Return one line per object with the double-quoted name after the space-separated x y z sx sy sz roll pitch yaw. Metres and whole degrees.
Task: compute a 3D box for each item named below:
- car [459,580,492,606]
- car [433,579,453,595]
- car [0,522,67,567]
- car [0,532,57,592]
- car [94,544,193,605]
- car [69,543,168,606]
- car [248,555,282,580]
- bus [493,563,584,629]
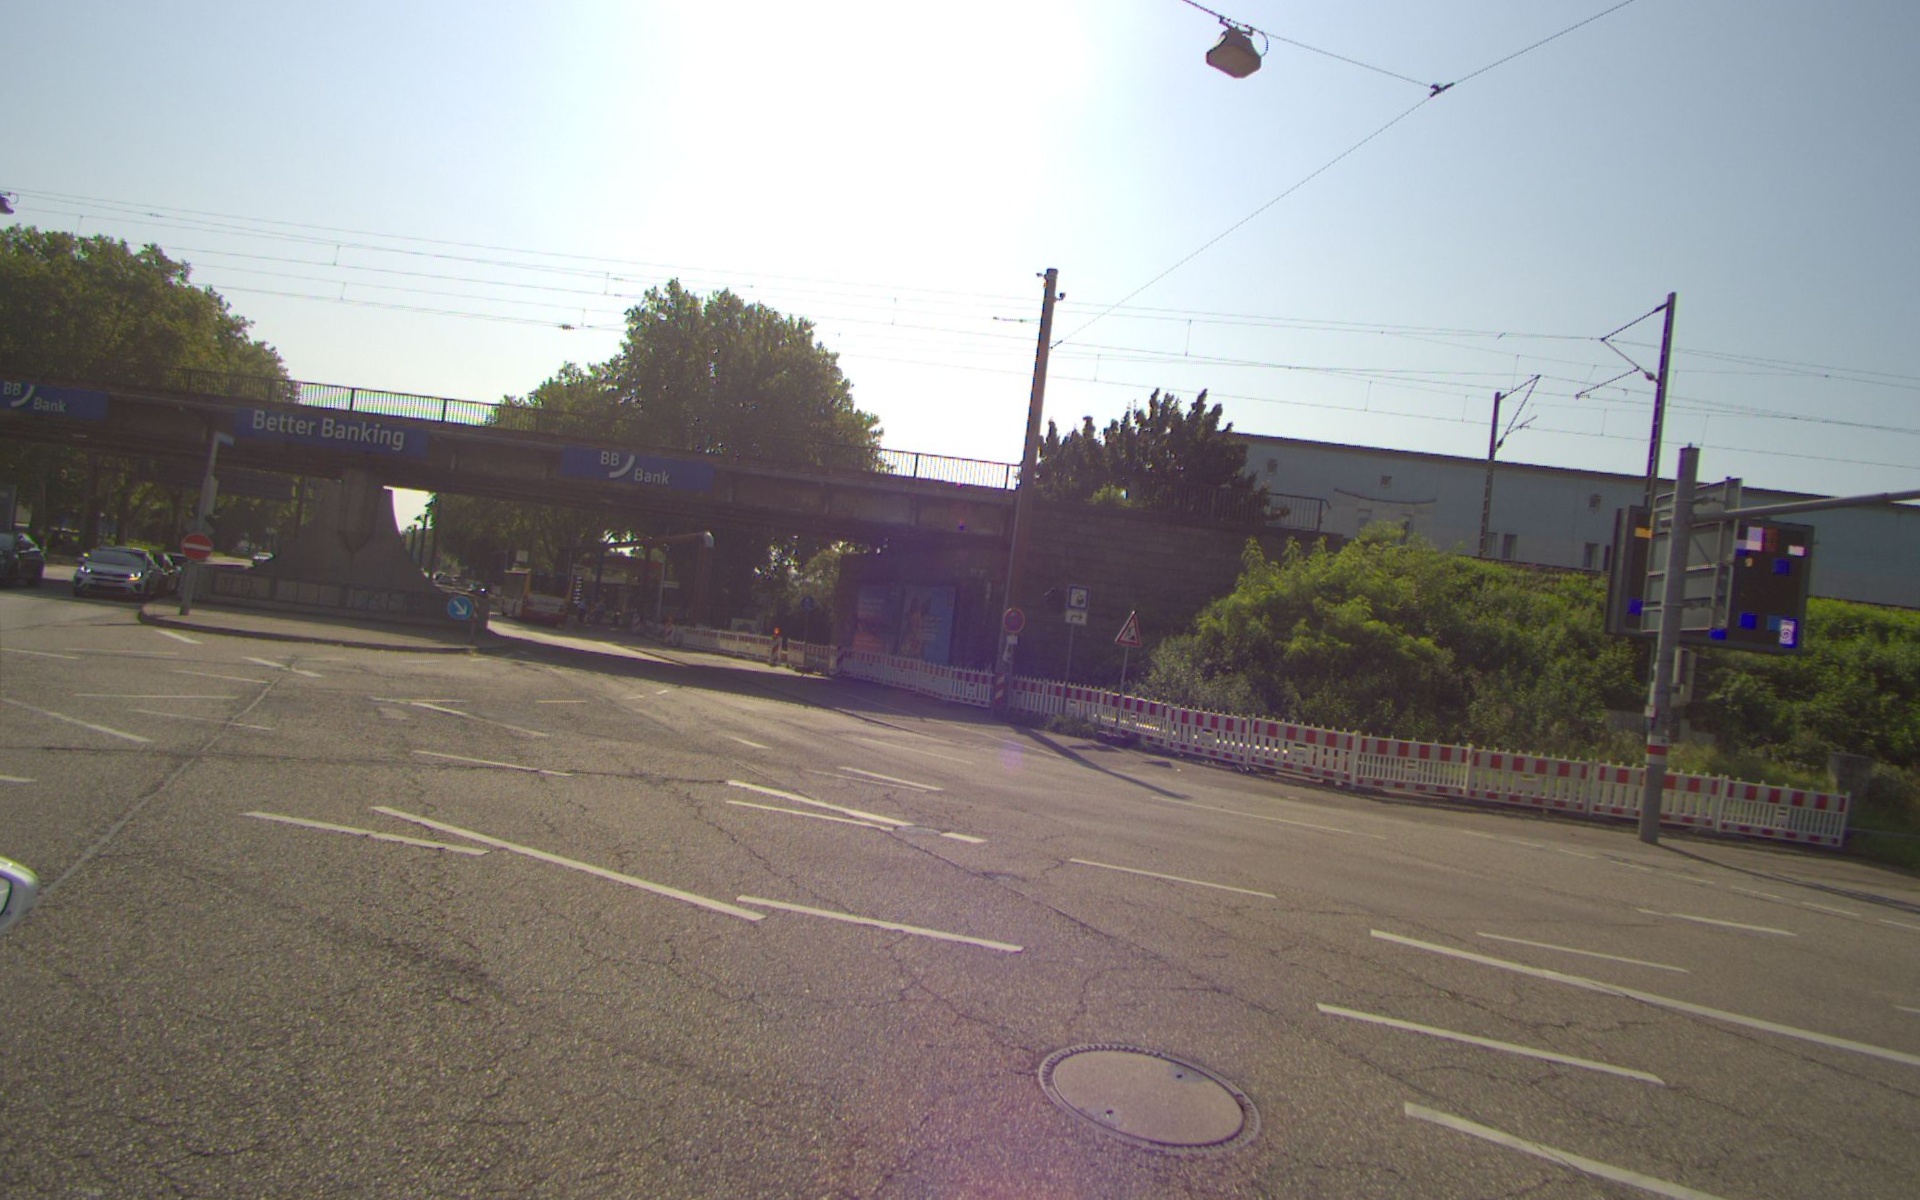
-44.660 -0.668 92.657 1.983 2.035 3.966 11 -4 -33 "car"
-80.042 -1.984 155.734 1.983 2.035 3.966 11 -4 -33 "car"
-48.037 -2.822 51.944 1.983 1.868 3.967 11 -4 -32 "car"
-28.125 -1.161 29.053 1.885 1.636 4.446 7 -2 -28 "car"
-27.260 -0.894 33.718 1.982 1.591 4.308 9 -1 -34 "car"
-24.813 -0.754 29.768 1.710 1.556 3.664 7 -2 -34 "car"
-52.261 -2.459 75.696 1.841 1.500 4.149 9 -2 -34 "car"
-26.084 -0.357 61.724 3.117 3.144 12.200 13 -5 -30 "bus"
